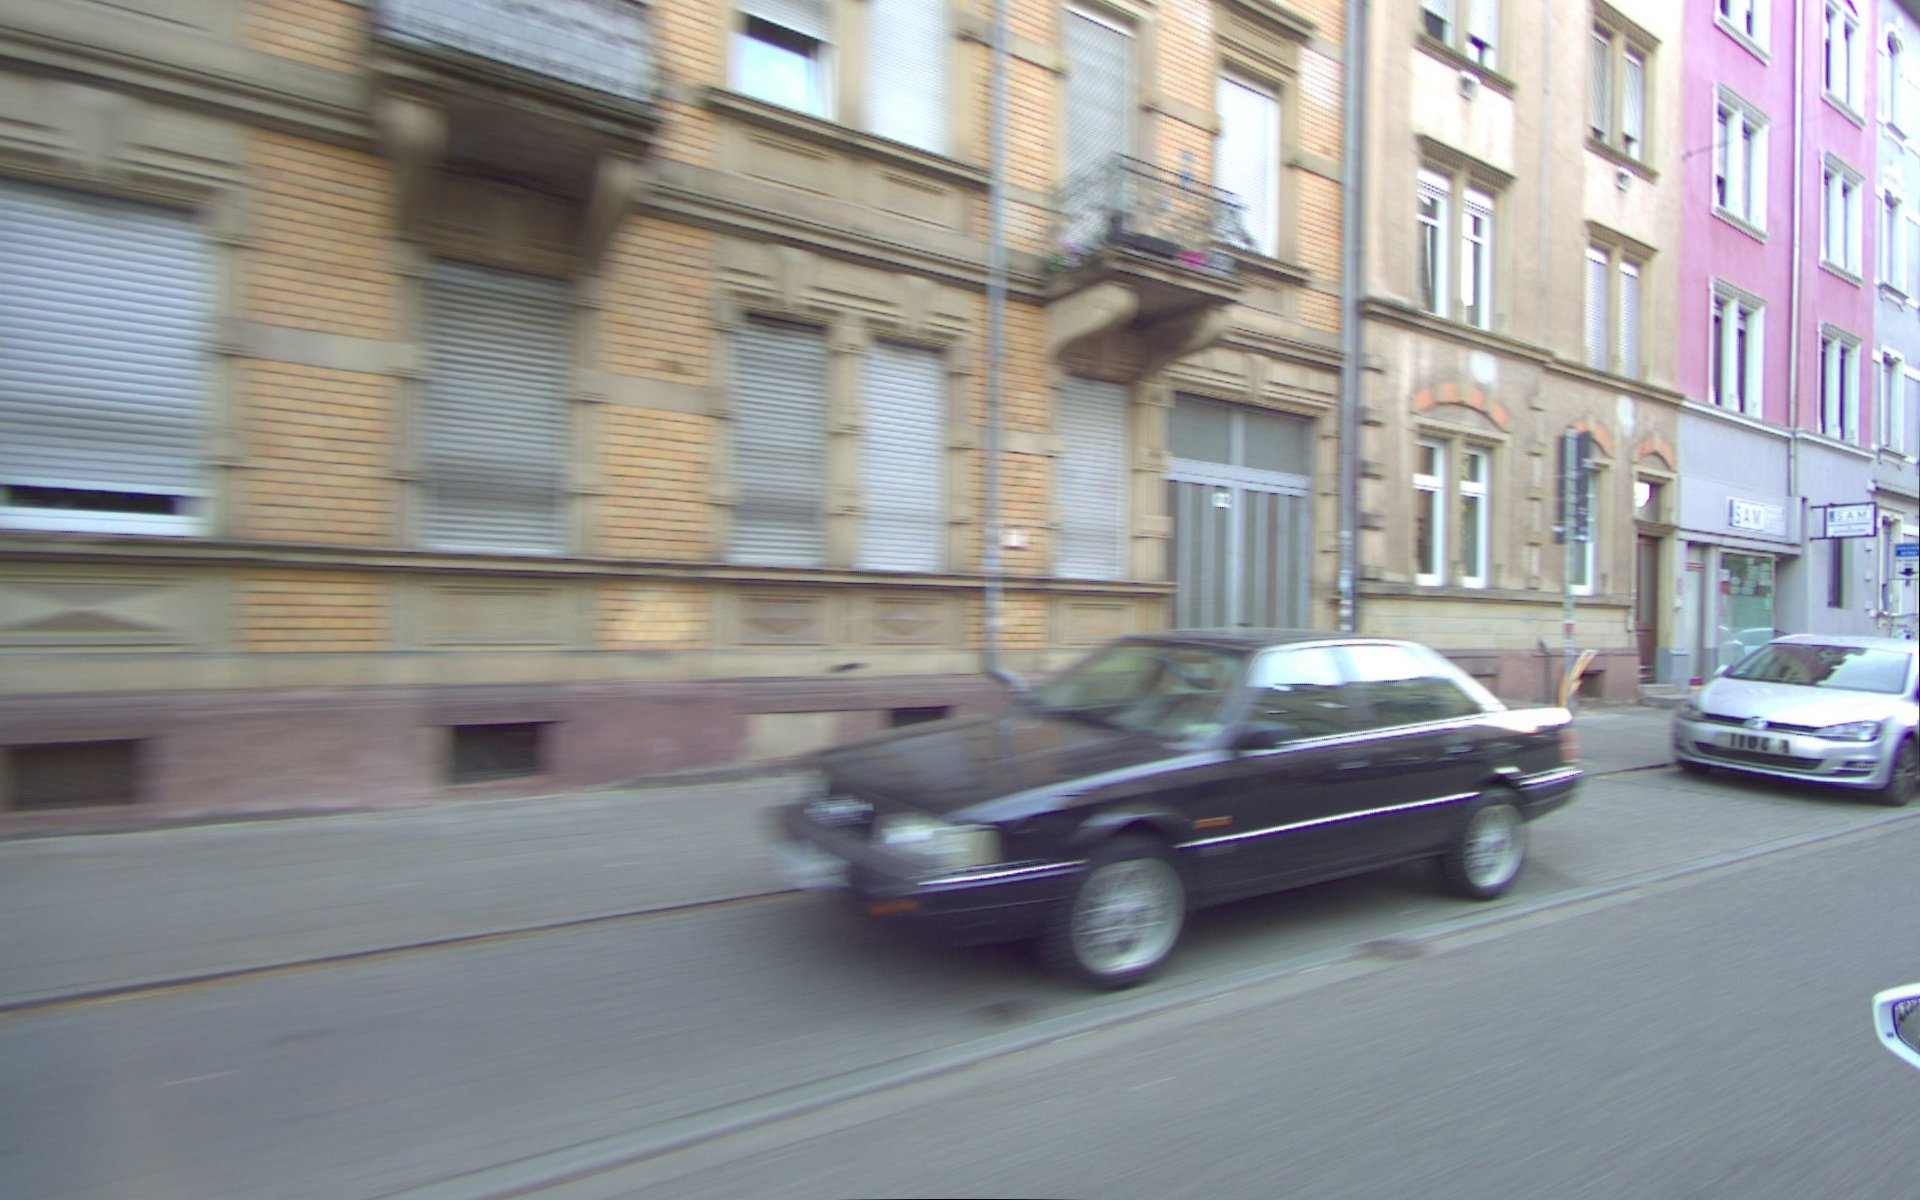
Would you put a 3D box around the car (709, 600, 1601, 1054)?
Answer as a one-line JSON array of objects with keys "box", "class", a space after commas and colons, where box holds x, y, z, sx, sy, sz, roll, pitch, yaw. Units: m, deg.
[{"box": [1.276, 0.817, 5.301, 4.727, 1.437, 1.726, 2, 0, -33], "class": "car"}]

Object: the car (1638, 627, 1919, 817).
[{"box": [8.995, 1.091, 10.306, 4.160, 1.477, 1.824, 2, 2, -32], "class": "car"}]
